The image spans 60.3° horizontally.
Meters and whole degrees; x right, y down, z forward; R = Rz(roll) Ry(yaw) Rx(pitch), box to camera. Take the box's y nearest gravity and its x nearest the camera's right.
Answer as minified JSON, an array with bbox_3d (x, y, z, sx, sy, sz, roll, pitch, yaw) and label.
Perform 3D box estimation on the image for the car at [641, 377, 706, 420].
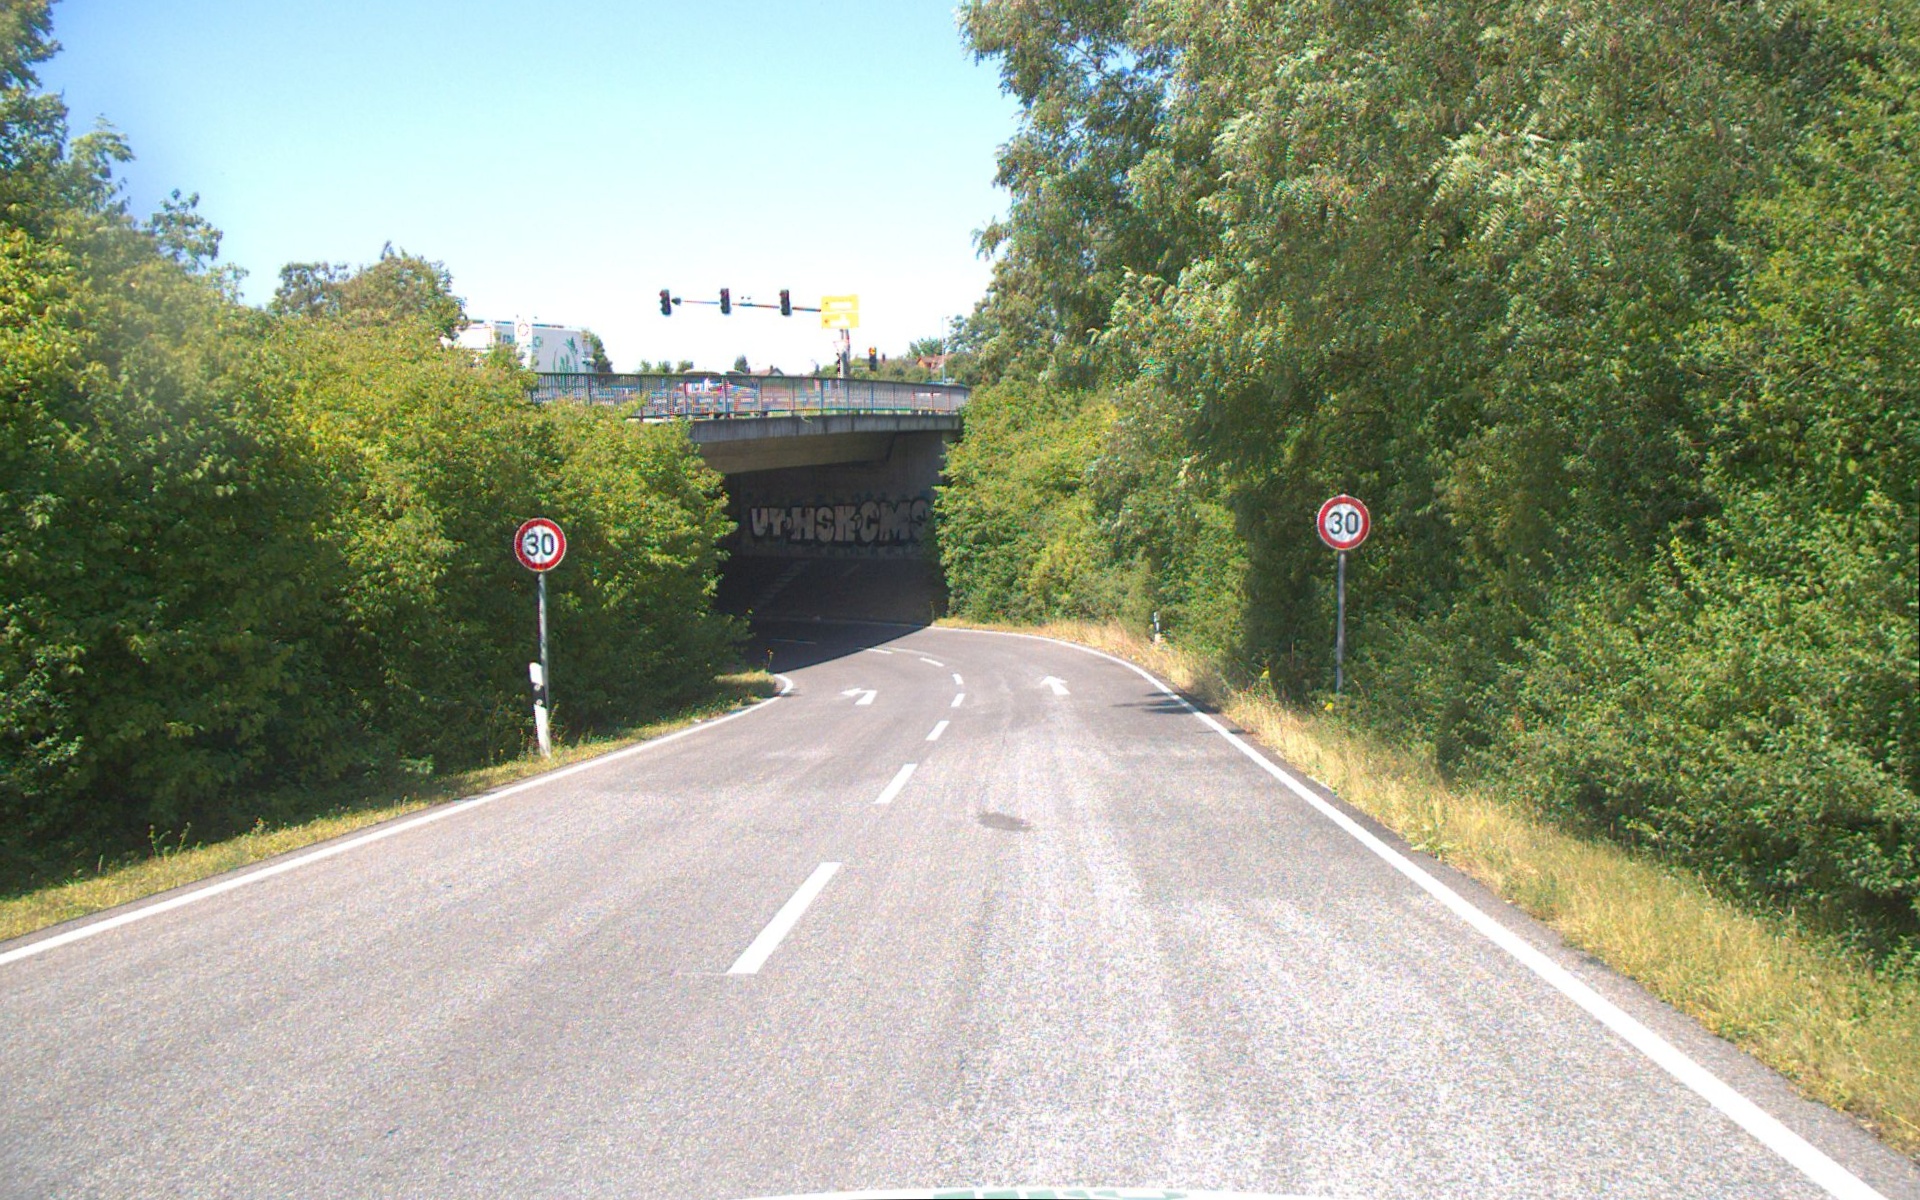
[{"bbox_3d":[-13.289,-9.346,76.961,1.951,1.646,4.004,1,2,6],"label":"car"}]

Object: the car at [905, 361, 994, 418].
[{"bbox_3d":[-0.388,-8.686,68.477,1.956,2.048,3.995,0,4,29],"label":"car"}]

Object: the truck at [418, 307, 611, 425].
[{"bbox_3d":[-16.616,-8.675,62.549,2.962,3.651,8.914,-1,4,14],"label":"truck"}]

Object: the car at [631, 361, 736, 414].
[{"bbox_3d":[-7.693,-5.930,46.309,1.577,1.210,3.483,-1,4,14],"label":"car"}]
